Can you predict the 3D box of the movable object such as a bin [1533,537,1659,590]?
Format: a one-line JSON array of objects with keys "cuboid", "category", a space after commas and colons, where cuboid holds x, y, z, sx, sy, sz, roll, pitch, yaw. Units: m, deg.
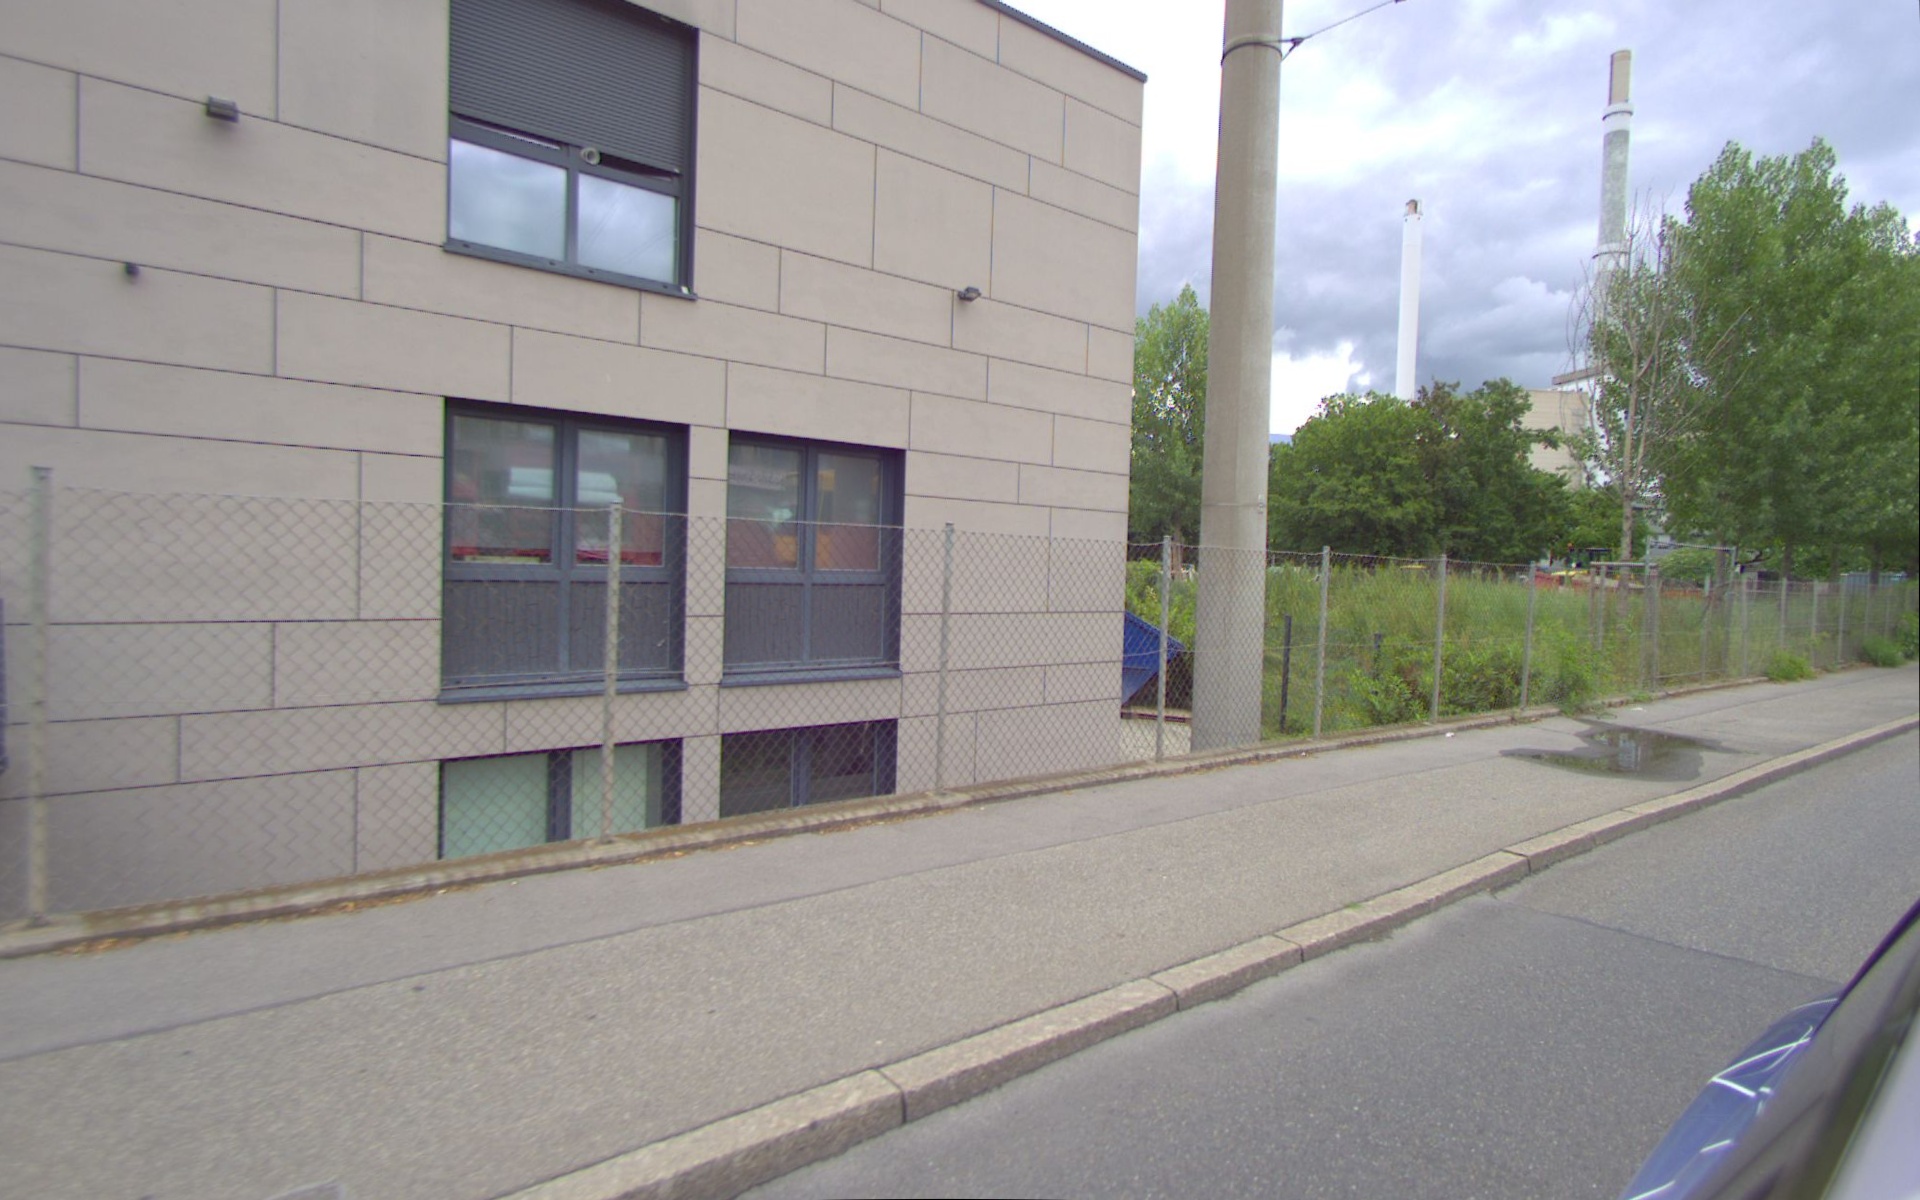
[{"cuboid": [26.345, -1.558, 41.954, 4.205, 2.037, 2.005, -2, 4, -13], "category": "movable object such as a bin"}]
